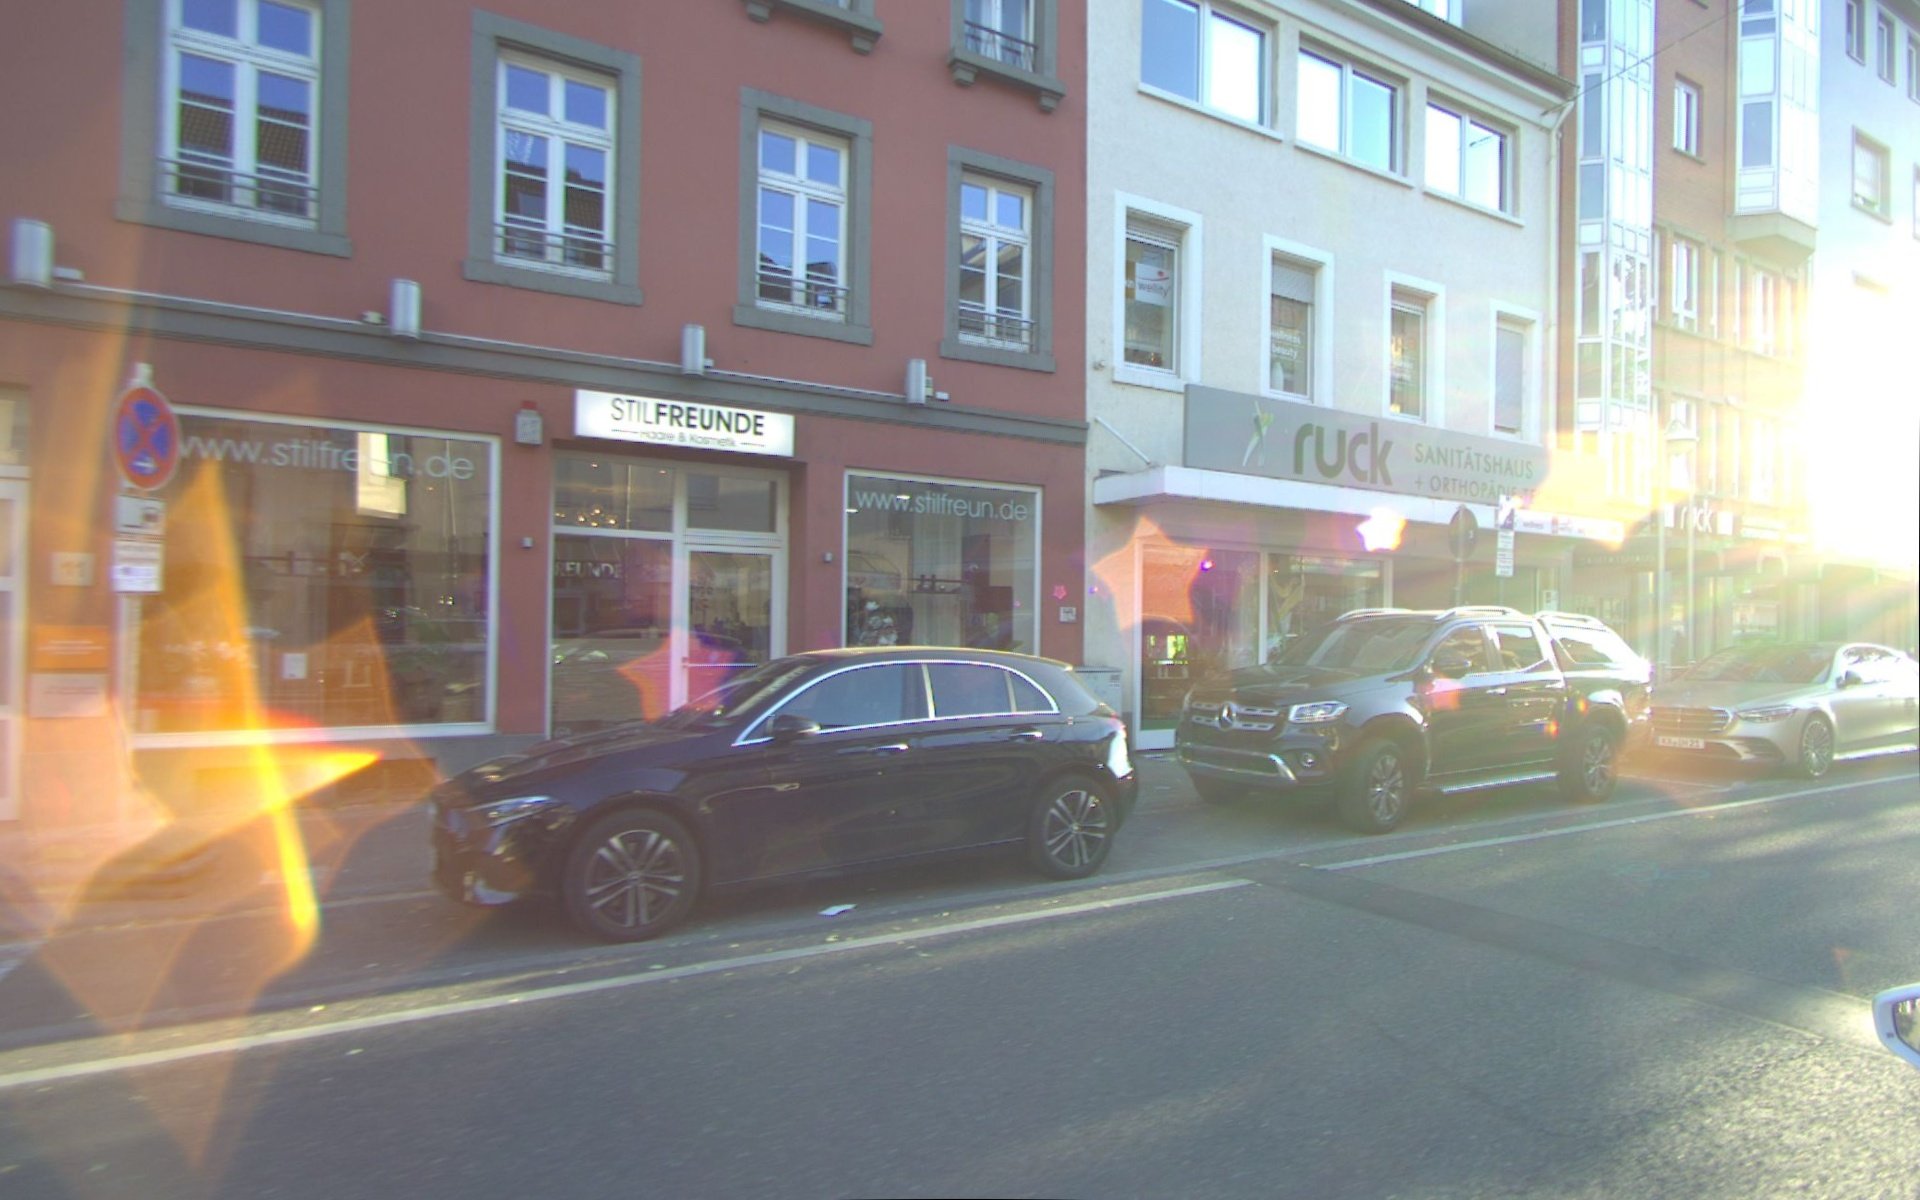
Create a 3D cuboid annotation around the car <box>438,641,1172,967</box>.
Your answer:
[{"bbox_3d":[-0.865,0.996,6.324,4.257,1.459,1.706,1,-3,-29],"label":"car"}]

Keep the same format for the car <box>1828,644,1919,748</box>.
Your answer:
[{"bbox_3d":[15.361,1.415,15.273,4.498,1.458,1.820,2,-4,-29],"label":"car"}]

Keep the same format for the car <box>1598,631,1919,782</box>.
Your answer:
[{"bbox_3d":[10.347,1.205,12.500,5.072,1.576,1.820,1,-3,-28],"label":"car"}]

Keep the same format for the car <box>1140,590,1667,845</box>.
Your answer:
[{"bbox_3d":[4.300,0.937,9.405,5.287,1.834,1.818,1,-3,-31],"label":"car"}]
